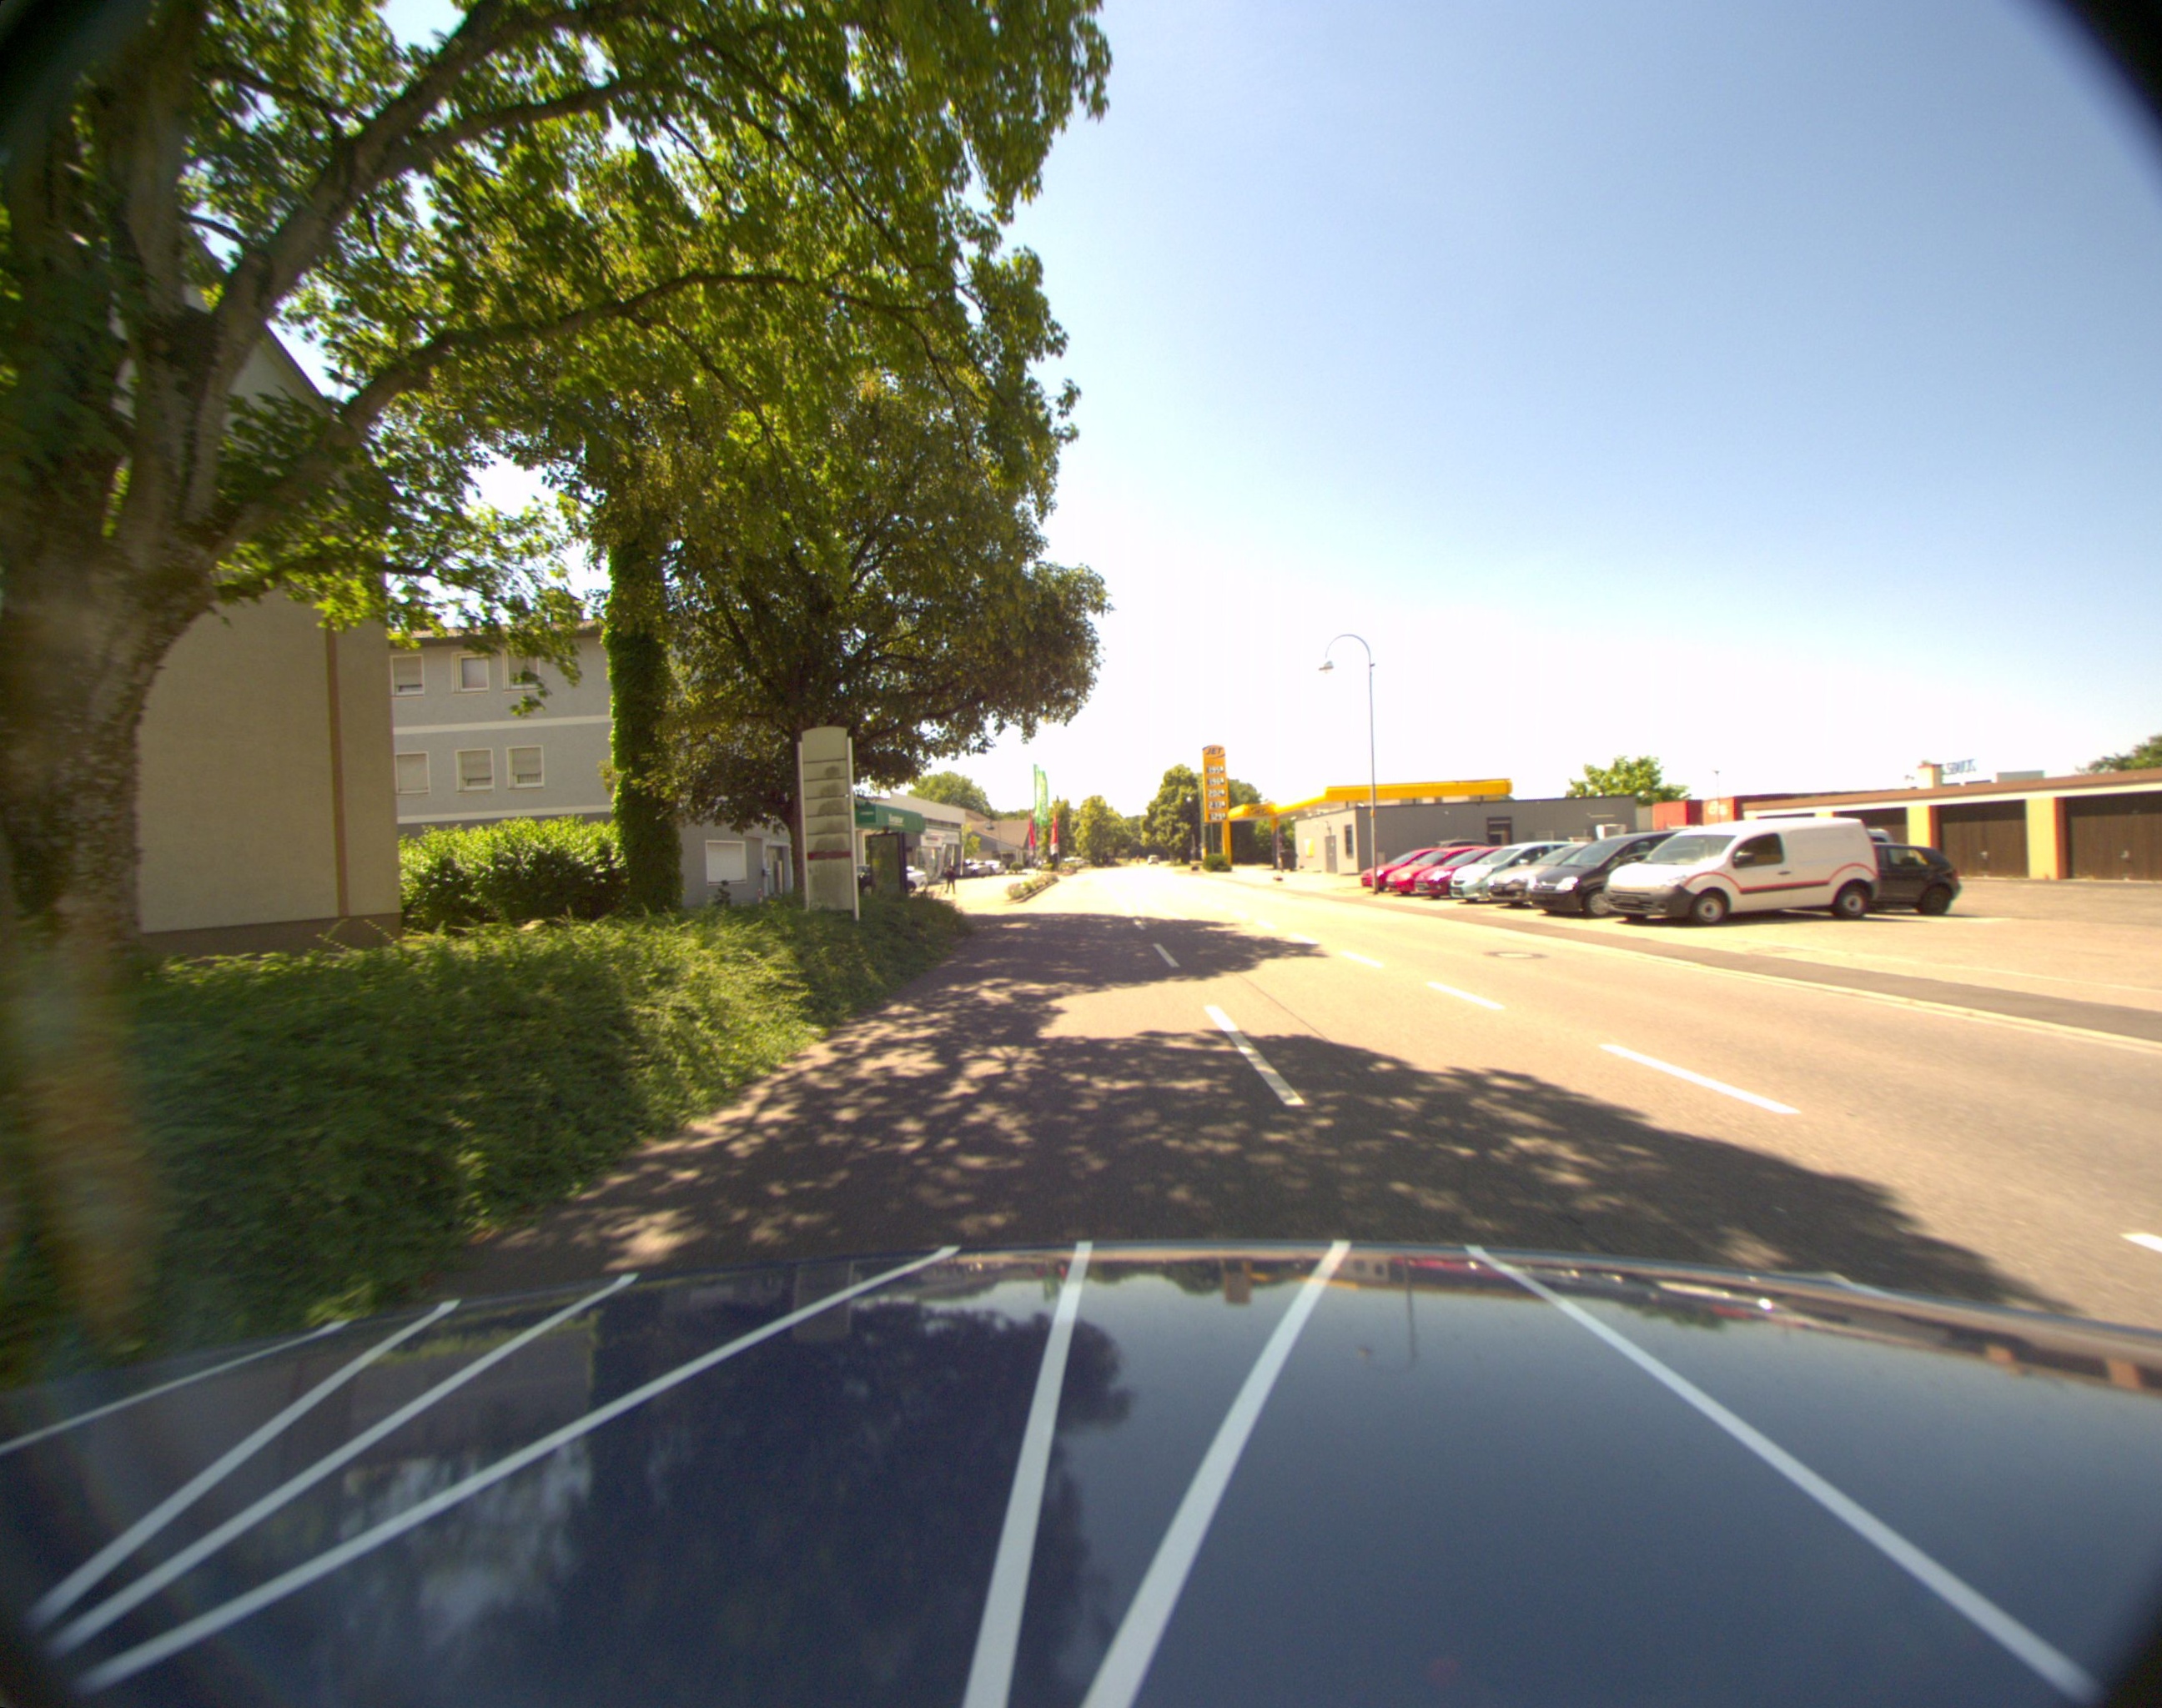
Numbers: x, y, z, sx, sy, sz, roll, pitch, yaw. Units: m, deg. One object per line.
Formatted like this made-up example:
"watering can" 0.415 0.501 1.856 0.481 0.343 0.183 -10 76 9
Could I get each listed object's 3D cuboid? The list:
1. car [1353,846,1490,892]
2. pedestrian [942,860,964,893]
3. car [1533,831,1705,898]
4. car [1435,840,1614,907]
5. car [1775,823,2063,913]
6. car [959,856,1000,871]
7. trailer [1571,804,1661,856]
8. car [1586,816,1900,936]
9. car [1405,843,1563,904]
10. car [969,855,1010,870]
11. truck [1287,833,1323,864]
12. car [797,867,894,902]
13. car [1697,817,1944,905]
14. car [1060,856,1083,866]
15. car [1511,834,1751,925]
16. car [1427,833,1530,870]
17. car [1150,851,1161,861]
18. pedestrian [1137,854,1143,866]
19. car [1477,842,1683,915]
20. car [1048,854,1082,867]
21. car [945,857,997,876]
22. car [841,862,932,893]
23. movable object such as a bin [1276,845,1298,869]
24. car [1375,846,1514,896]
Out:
"car" 12.260 0.519 27.528 4.136 1.435 1.827 -2 1 0
"pedestrian" -6.483 1.125 38.598 0.842 1.632 1.010 -1 1 5
"car" 16.121 0.294 22.901 3.859 1.795 1.858 -2 1 -1
"car" 11.815 0.501 20.418 3.673 1.572 1.922 -2 1 -1
"car" 17.412 0.288 15.935 3.997 1.559 1.830 -3 0 -1
"car" -10.559 0.988 79.319 3.859 1.524 1.680 -1 1 19
"trailer" 35.465 -1.494 50.640 1.869 3.200 5.914 -2 0 1
"car" 11.981 0.355 13.943 4.105 1.887 1.999 -2 1 -4
"car" 11.906 0.548 22.613 3.673 1.596 1.881 -2 1 -1
"car" -9.823 0.933 81.523 3.992 1.452 1.807 -2 1 17
"truck" 20.196 -0.516 68.798 2.237 2.583 6.736 -2 1 9
"car" -11.155 1.421 36.170 3.997 1.541 1.798 -1 1 1
"car" 17.362 0.156 18.001 3.912 1.850 2.000 -2 0 -1
"car" -1.513 1.049 120.385 3.405 1.497 1.582 -2 0 2
"car" 11.475 0.492 16.044 3.673 1.663 1.922 -2 1 -1
"car" 19.105 -0.129 36.666 3.996 1.575 1.754 -2 1 4
"car" 13.514 0.417 138.038 1.973 1.662 4.250 -2 0 4
"pedestrian" 8.775 0.920 113.776 0.730 1.779 0.621 -2 1 14
"car" 11.910 0.549 18.313 3.673 1.523 1.922 -2 1 -1
"car" -2.293 0.940 108.049 4.522 1.658 1.895 -2 0 10
"car" -10.756 1.218 74.179 4.586 1.632 2.003 -2 1 20
"car" -10.245 1.211 39.945 4.362 1.363 1.952 -2 1 -22
"movable object such as a bin" 13.761 0.206 50.753 0.954 1.508 1.428 -6 -1 2
"car" 11.929 0.540 25.112 3.673 1.449 1.892 -2 1 -1
